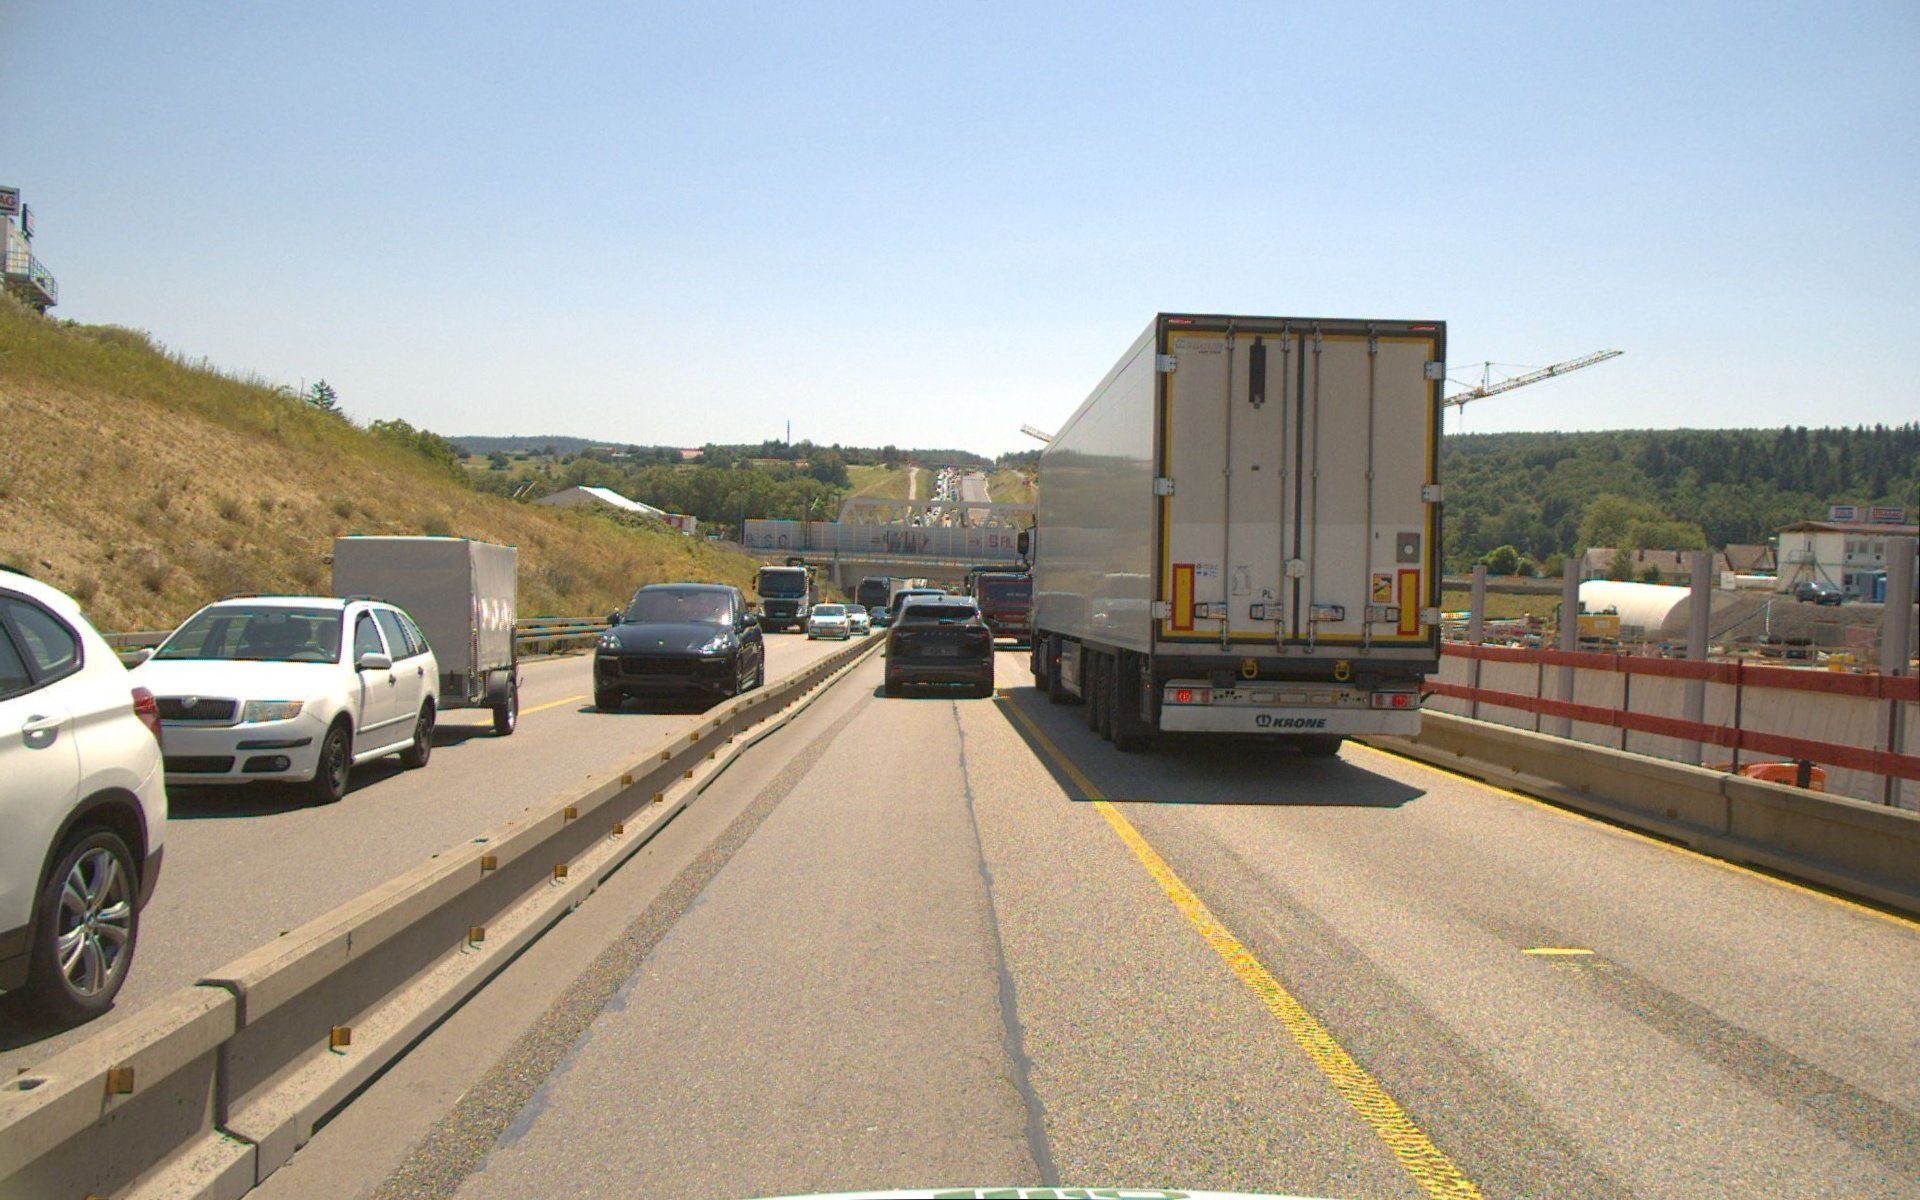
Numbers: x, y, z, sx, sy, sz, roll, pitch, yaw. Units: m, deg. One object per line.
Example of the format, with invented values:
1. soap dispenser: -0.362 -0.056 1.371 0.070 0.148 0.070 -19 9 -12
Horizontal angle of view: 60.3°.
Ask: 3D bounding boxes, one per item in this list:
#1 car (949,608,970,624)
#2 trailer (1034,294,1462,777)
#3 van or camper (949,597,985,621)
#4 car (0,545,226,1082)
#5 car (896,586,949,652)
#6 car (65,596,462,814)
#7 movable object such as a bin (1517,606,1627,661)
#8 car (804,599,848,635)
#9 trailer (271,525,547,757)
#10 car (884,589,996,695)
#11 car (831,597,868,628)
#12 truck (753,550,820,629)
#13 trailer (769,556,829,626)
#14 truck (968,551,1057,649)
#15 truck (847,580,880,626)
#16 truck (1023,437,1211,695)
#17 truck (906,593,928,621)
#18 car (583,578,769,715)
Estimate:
1. car: -0.062 1.292 132.462 1.508 1.227 3.309 1 0 -3
2. trailer: 2.811 -0.520 21.329 2.745 4.129 14.112 1 0 -1
3. van or camper: 0.977 1.370 250.791 3.873 3.479 8.383 1 0 -11
4. car: -3.753 0.629 4.385 1.779 1.620 4.288 1 0 -2
5. car: -1.068 0.521 47.882 1.445 1.826 3.297 1 0 -1
6. car: -5.219 0.692 12.979 1.614 1.440 3.997 0 0 -3
7. movable object such as a bin: 35.666 1.874 96.803 2.829 2.960 9.478 1 0 0
8. car: -5.458 0.687 67.797 1.650 1.455 3.291 0 0 -2
9. trailer: -5.459 0.365 16.931 1.614 2.061 4.267 0 0 -3
10. car: -0.349 0.655 27.738 1.764 1.648 3.297 0 1 -1
11. car: -5.279 0.585 79.466 1.650 1.455 4.120 0 0 -2
12. truck: -8.717 -0.489 83.994 2.534 3.788 9.330 0 0 -1
13. trailer: -8.869 -0.473 91.937 2.534 3.701 9.076 0 0 -1
14. truck: 1.772 0.006 60.815 2.756 3.190 12.836 1 0 0
15. truck: -8.664 0.265 148.938 2.711 3.952 4.963 1 0 -1
16. truck: 2.636 -0.537 29.175 2.720 4.129 4.903 1 0 -1
17. truck: -4.589 0.727 175.422 2.222 2.933 5.850 1 0 -1
18. car: -3.873 0.589 23.291 1.852 1.738 4.561 0 0 -1
